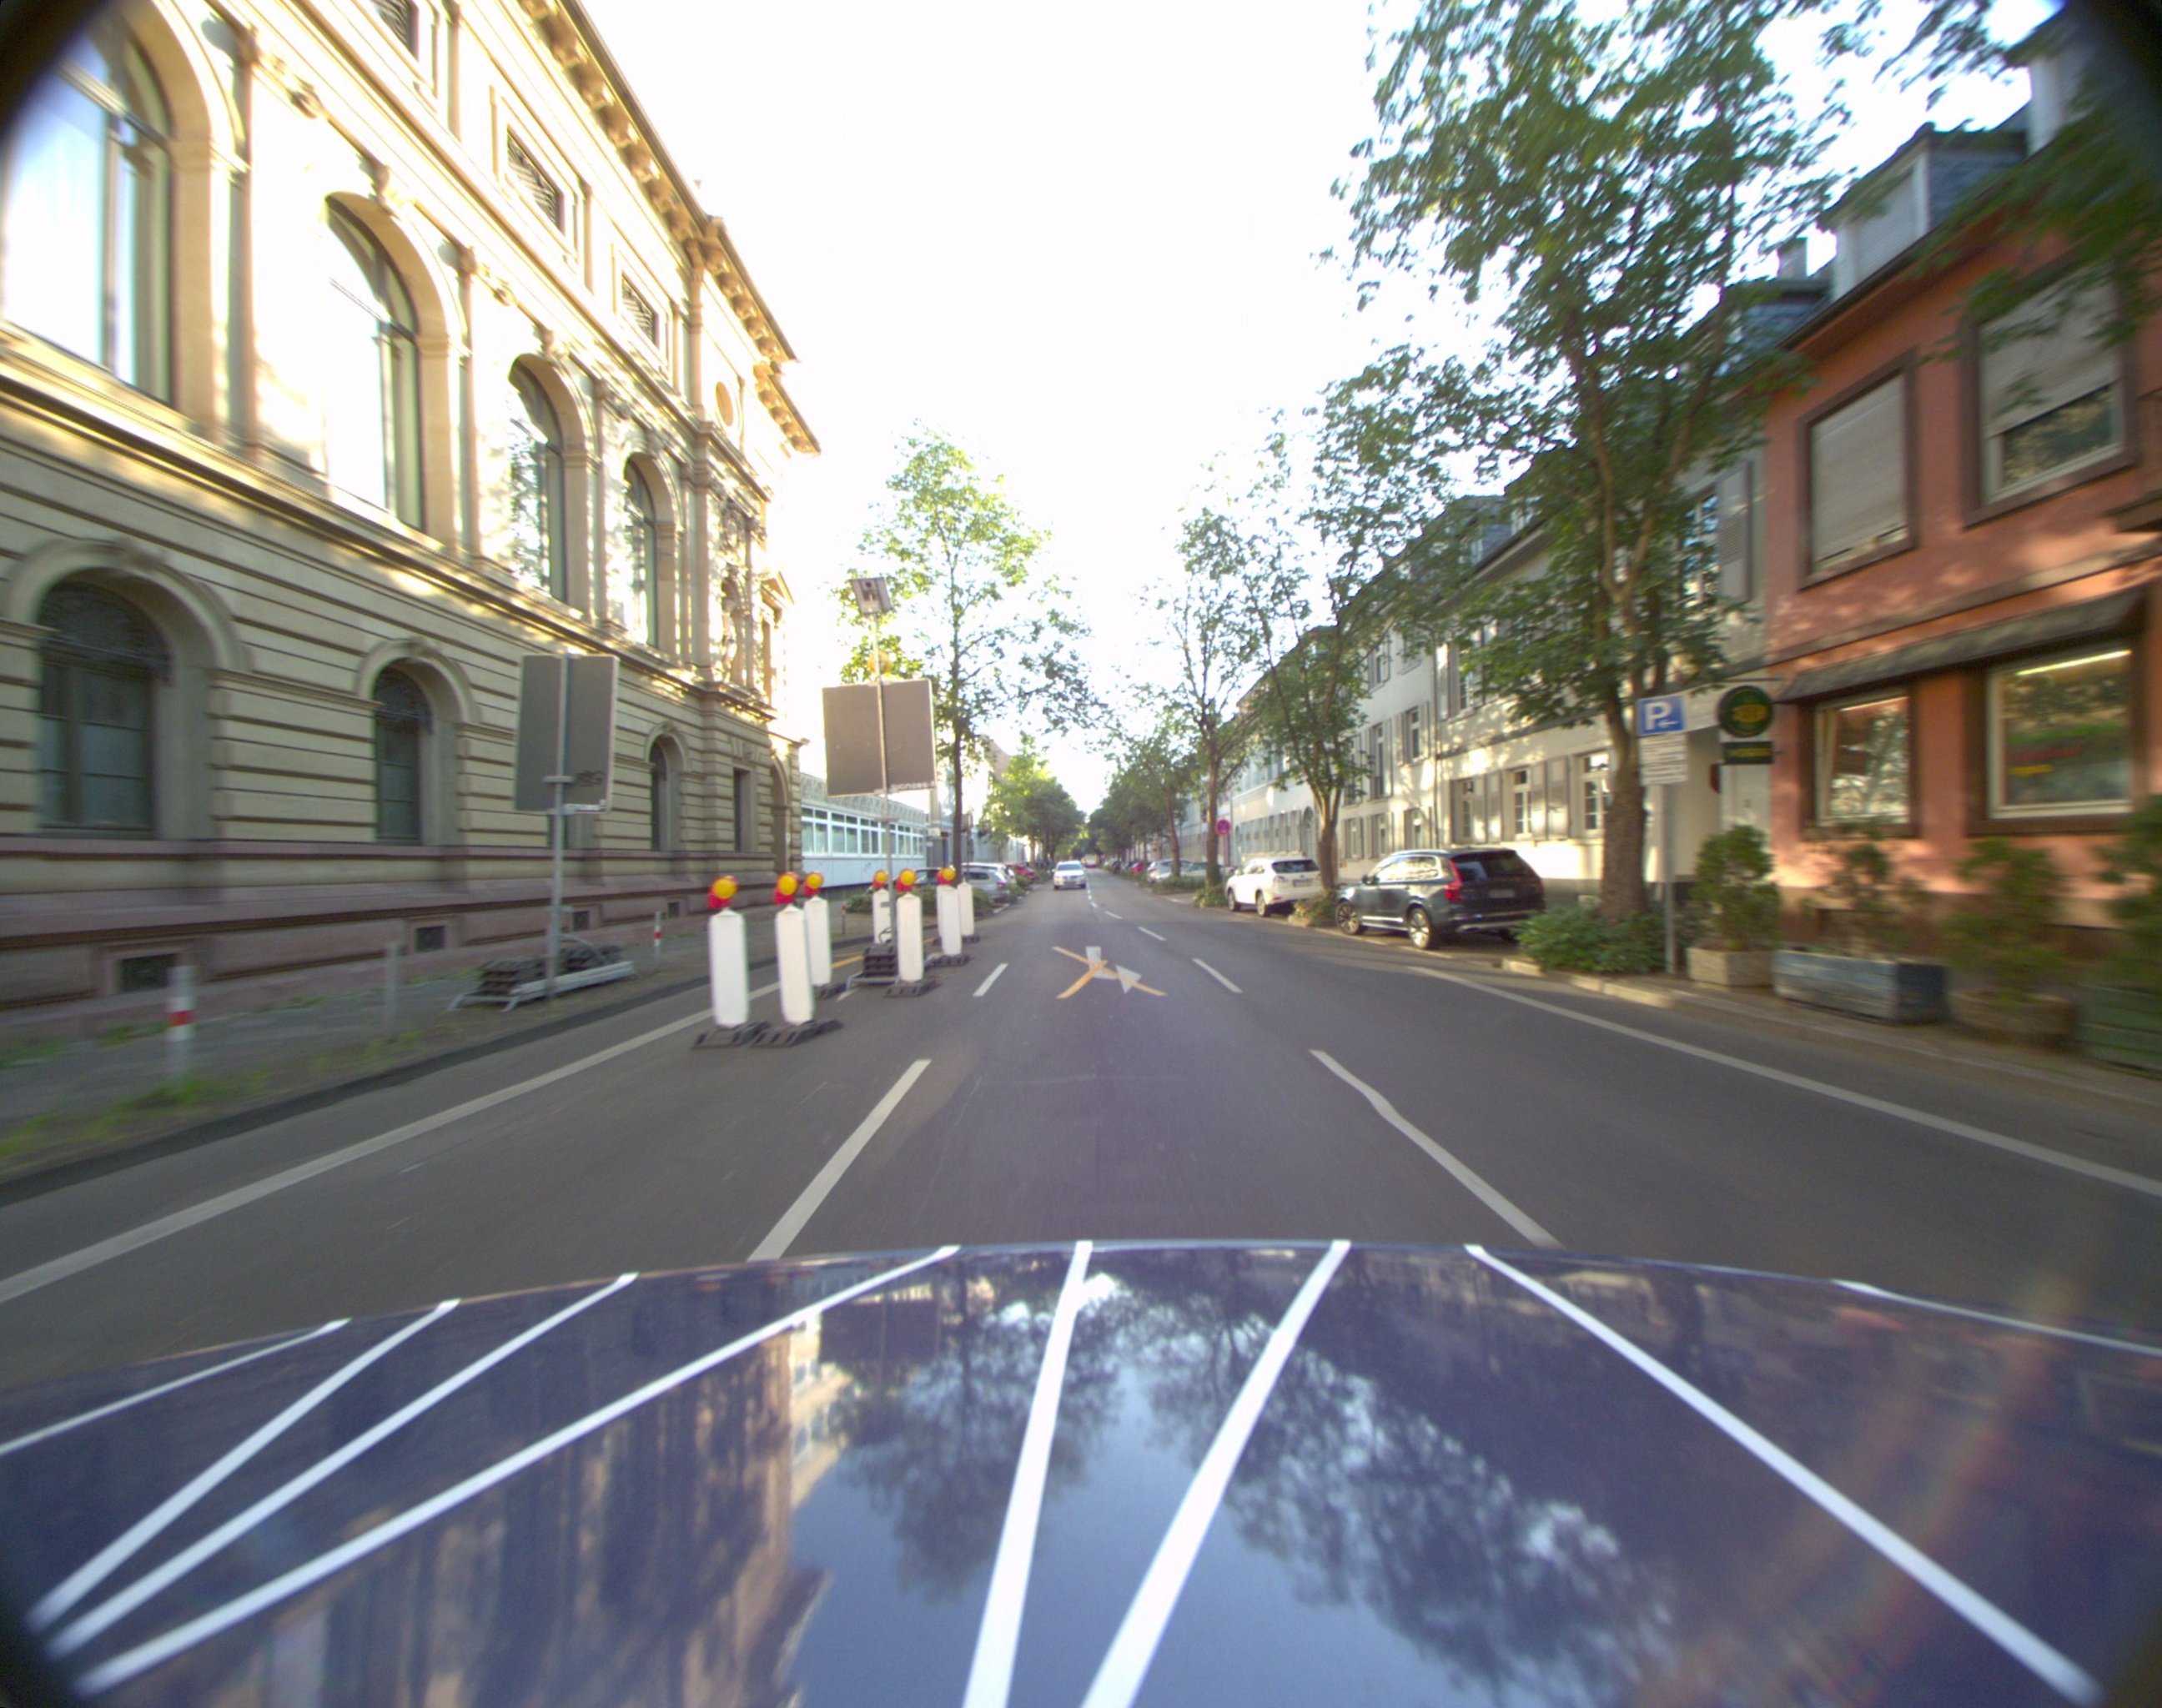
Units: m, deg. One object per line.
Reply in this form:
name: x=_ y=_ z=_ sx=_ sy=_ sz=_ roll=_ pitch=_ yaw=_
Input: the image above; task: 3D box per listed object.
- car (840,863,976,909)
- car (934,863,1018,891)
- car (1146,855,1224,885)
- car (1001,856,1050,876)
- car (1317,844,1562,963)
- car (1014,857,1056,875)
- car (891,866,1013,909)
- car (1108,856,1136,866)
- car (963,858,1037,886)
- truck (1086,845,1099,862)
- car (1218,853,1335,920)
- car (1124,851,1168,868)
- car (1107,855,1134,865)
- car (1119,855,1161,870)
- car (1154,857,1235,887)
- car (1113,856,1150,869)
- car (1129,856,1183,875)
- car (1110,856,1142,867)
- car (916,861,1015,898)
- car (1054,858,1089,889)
car: x=-5.966 y=1.112 z=26.584 sx=4.369 sy=1.455 sz=1.833 roll=1 pitch=0 yaw=-4
car: x=-5.675 y=1.229 z=41.592 sx=4.369 sy=1.485 sz=1.886 roll=0 pitch=0 yaw=-2
car: x=6.078 y=0.923 z=44.594 sx=4.230 sy=1.680 sz=1.800 roll=-1 pitch=0 yaw=-2
car: x=-5.076 y=1.066 z=69.524 sx=4.369 sy=1.768 sz=1.733 roll=1 pitch=0 yaw=-2
car: x=6.558 y=0.796 z=14.715 sx=1.833 sy=1.749 sz=5.046 roll=-5 pitch=0 yaw=-6
car: x=-4.899 y=1.234 z=81.170 sx=4.369 sy=1.862 sz=1.733 roll=0 pitch=0 yaw=-2
car: x=-4.896 y=1.261 z=29.212 sx=4.368 sy=1.486 sz=1.672 roll=1 pitch=0 yaw=0
car: x=6.367 y=1.017 z=118.924 sx=4.230 sy=1.468 sz=1.969 roll=-1 pitch=0 yaw=-2
car: x=-4.923 y=1.098 z=46.602 sx=4.369 sy=1.614 sz=1.733 roll=1 pitch=0 yaw=-2
truck: x=2.651 y=-0.168 z=172.213 sx=2.748 sy=3.722 sz=7.855 roll=-1 pitch=0 yaw=1
car: x=5.796 y=0.896 z=23.185 sx=1.833 sy=1.658 sz=4.654 roll=-5 pitch=0 yaw=-6
car: x=6.530 y=0.571 z=76.987 sx=4.230 sy=1.654 sz=1.800 roll=-1 pitch=0 yaw=-2
car: x=6.630 y=0.970 z=127.416 sx=4.230 sy=1.508 sz=1.969 roll=-1 pitch=0 yaw=-2
car: x=6.315 y=0.923 z=81.646 sx=4.230 sy=1.509 sz=1.759 roll=-1 pitch=0 yaw=-2
car: x=6.193 y=0.975 z=41.850 sx=4.228 sy=1.536 sz=1.801 roll=-1 pitch=0 yaw=3
car: x=6.137 y=1.024 z=92.454 sx=4.230 sy=1.468 sz=1.853 roll=-1 pitch=0 yaw=-2
car: x=6.173 y=0.952 z=62.769 sx=4.230 sy=1.499 sz=1.800 roll=-1 pitch=0 yaw=-2
car: x=6.173 y=1.018 z=104.927 sx=4.230 sy=1.468 sz=1.969 roll=-1 pitch=0 yaw=-2
car: x=-5.364 y=1.171 z=35.678 sx=4.369 sy=1.633 sz=2.054 roll=1 pitch=0 yaw=-2
car: x=-0.522 y=1.117 z=45.215 sx=1.957 sy=1.667 sz=4.543 roll=-1 pitch=0 yaw=0
